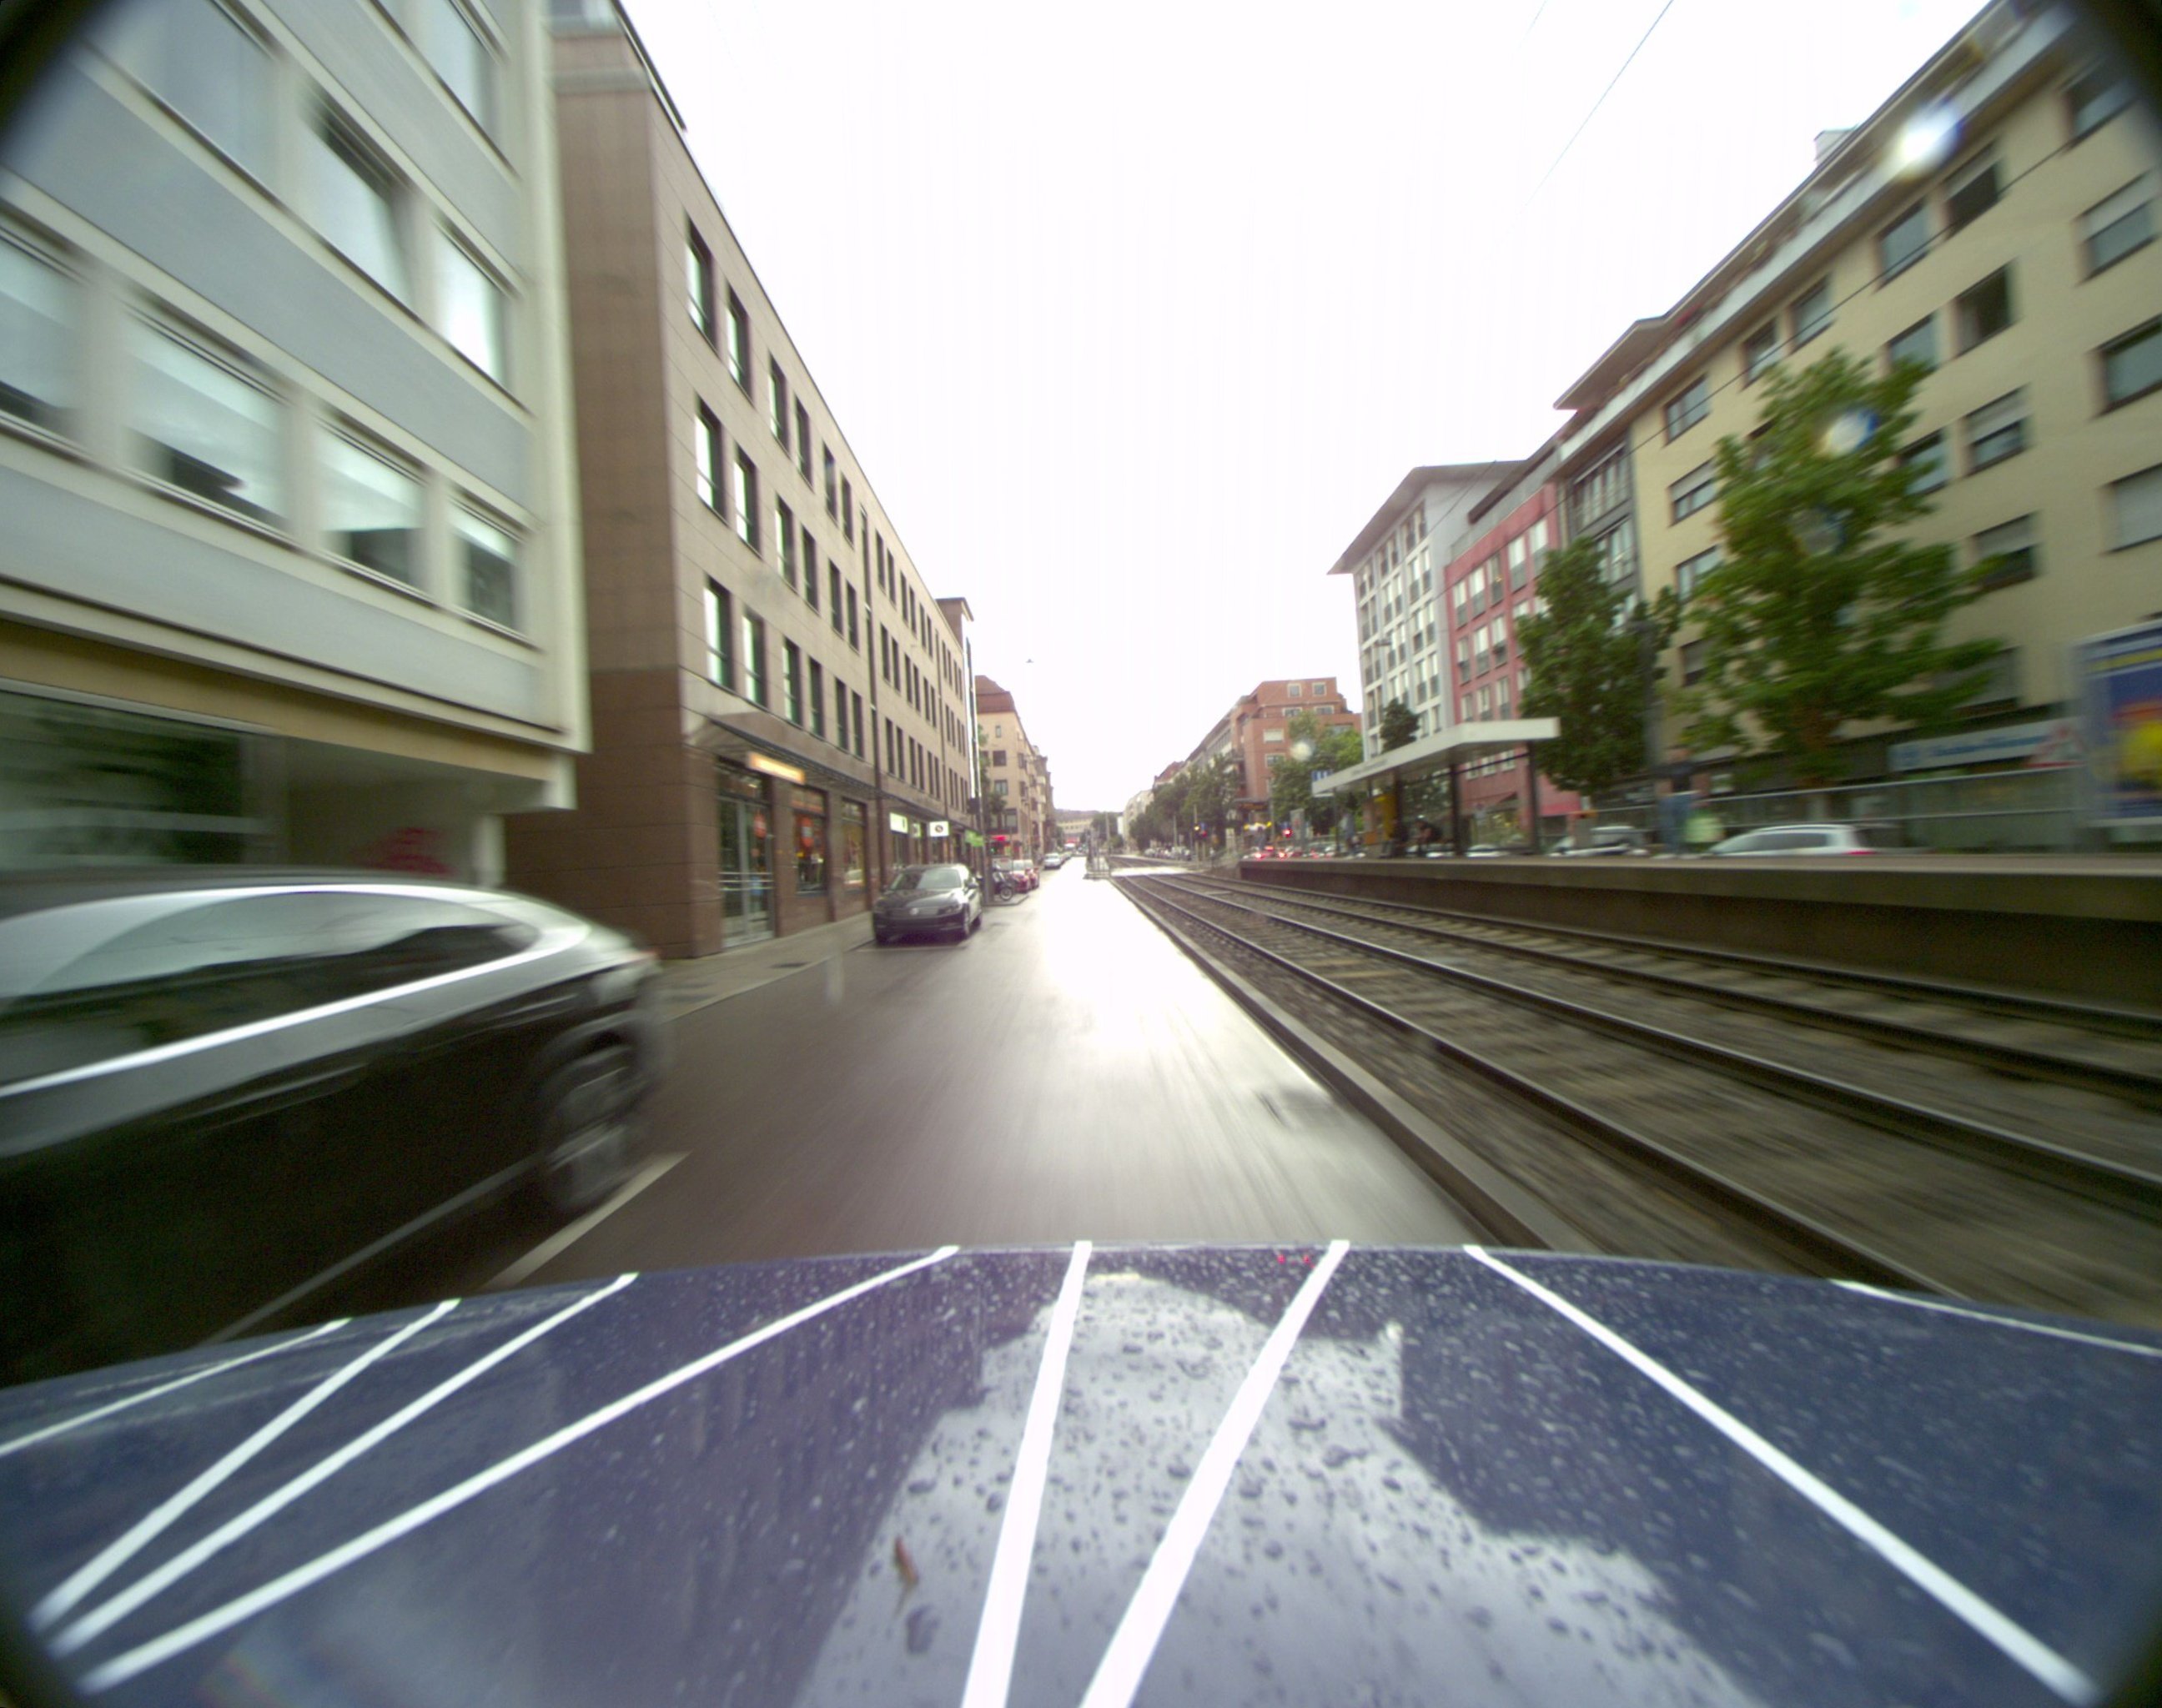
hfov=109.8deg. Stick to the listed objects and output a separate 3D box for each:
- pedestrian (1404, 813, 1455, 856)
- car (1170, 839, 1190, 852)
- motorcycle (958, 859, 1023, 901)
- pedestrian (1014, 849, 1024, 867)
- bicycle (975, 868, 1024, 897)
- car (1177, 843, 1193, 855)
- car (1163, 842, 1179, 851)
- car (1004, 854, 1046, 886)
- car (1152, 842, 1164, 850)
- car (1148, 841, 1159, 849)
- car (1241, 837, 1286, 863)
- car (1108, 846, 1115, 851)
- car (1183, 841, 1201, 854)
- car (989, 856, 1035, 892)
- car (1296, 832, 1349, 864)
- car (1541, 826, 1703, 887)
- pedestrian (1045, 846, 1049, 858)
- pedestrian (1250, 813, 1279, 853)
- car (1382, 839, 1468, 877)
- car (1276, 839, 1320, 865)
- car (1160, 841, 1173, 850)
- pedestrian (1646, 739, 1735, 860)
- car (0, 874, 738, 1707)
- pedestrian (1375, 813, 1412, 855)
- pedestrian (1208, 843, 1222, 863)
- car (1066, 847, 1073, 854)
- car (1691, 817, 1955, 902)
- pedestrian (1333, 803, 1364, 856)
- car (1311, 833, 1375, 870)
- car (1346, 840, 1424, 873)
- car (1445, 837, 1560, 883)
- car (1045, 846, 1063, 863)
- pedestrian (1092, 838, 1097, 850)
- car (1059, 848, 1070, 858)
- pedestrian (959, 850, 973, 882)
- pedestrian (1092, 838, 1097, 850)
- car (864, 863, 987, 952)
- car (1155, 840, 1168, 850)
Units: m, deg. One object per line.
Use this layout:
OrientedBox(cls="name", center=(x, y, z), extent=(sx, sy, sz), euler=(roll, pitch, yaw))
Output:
OrientedBox(cls="pedestrian", center=(9.513, -0.527, 20.768), extent=(0.895, 1.117, 0.849), euler=(-3, 1, -10))
OrientedBox(cls="car", center=(14.601, -1.272, 112.204), extent=(1.912, 1.834, 5.255), euler=(-3, 1, -4))
OrientedBox(cls="motorcycle", center=(-3.190, 0.912, 26.816), extent=(2.086, 1.399, 0.800), euler=(-2, 2, 19))
OrientedBox(cls="pedestrian", center=(-6.275, 0.429, 76.679), extent=(0.665, 1.809, 0.597), euler=(-1, 2, 41))
OrientedBox(cls="bicycle", center=(-3.178, 1.123, 29.709), extent=(1.791, 1.025, 0.462), euler=(-2, 2, -1))
OrientedBox(cls="car", center=(14.532, -0.713, 106.082), extent=(1.643, 1.527, 4.370), euler=(-3, 1, 1))
OrientedBox(cls="car", center=(14.337, -1.216, 121.162), extent=(1.696, 1.454, 4.528), euler=(-3, 1, -3))
OrientedBox(cls="car", center=(-2.835, 0.791, 39.156), extent=(1.703, 1.471, 3.866), euler=(-1, 1, 2))
OrientedBox(cls="car", center=(14.179, -1.498, 140.498), extent=(1.643, 1.432, 4.728), euler=(-3, 1, -1))
OrientedBox(cls="car", center=(14.421, -1.828, 152.085), extent=(1.662, 1.575, 4.337), euler=(-3, 1, -1))
OrientedBox(cls="car", center=(12.140, -0.294, 50.805), extent=(1.811, 1.569, 5.020), euler=(-3, 1, 1))
OrientedBox(cls="car", center=(9.379, -1.690, 234.618), extent=(1.696, 1.454, 4.528), euler=(-3, 1, -3))
OrientedBox(cls="car", center=(14.517, -0.900, 99.714), extent=(1.643, 1.614, 4.370), euler=(-3, 1, 1))
OrientedBox(cls="car", center=(-3.040, 0.851, 34.105), extent=(1.703, 1.454, 3.866), euler=(-1, 1, 0))
OrientedBox(cls="car", center=(14.834, -0.383, 46.960), extent=(1.712, 1.847, 4.319), euler=(-3, 1, -2))
OrientedBox(cls="car", center=(14.502, 0.038, 20.631), extent=(1.572, 1.428, 3.734), euler=(-3, 1, -3))
OrientedBox(cls="pedestrian", center=(-4.784, -0.281, 106.578), extent=(0.546, 1.671, 0.595), euler=(-3, 2, -7))
OrientedBox(cls="pedestrian", center=(9.643, -1.112, 40.024), extent=(1.119, 2.002, 1.383), euler=(-2, 2, 0))
OrientedBox(cls="car", center=(14.182, 0.131, 31.547), extent=(1.572, 1.428, 3.977), euler=(-3, 1, -3))
OrientedBox(cls="car", center=(14.869, -0.155, 52.277), extent=(1.730, 1.602, 4.553), euler=(-3, 0, 1))
OrientedBox(cls="car", center=(14.469, -1.437, 129.243), extent=(1.643, 1.530, 3.802), euler=(-3, 1, -1))
OrientedBox(cls="pedestrian", center=(9.478, -0.826, 11.845), extent=(0.657, 1.791, 0.850), euler=(-3, 1, -2))
OrientedBox(cls="car", center=(-3.082, 1.004, 2.143), extent=(1.812, 1.622, 5.168), euler=(-3, 1, 0))
OrientedBox(cls="pedestrian", center=(9.570, -0.605, 23.302), extent=(0.694, 1.242, 0.884), euler=(-3, 1, -2))
OrientedBox(cls="pedestrian", center=(11.813, -0.122, 66.974), extent=(0.821, 1.687, 0.985), euler=(-5, 1, -8))
OrientedBox(cls="car", center=(-2.615, -0.762, 171.915), extent=(1.588, 1.343, 3.976), euler=(-3, 1, -1))
OrientedBox(cls="car", center=(14.691, 0.083, 15.370), extent=(1.572, 1.428, 3.734), euler=(-3, 1, -3))
OrientedBox(cls="pedestrian", center=(8.929, -0.805, 25.414), extent=(0.657, 1.702, 0.850), euler=(-3, 1, -2))
OrientedBox(cls="car", center=(14.335, -0.144, 41.819), extent=(1.807, 1.847, 4.379), euler=(-3, 1, -2))
OrientedBox(cls="car", center=(14.692, 0.100, 36.932), extent=(1.846, 1.428, 4.318), euler=(-3, 1, -3))
OrientedBox(cls="car", center=(14.736, 0.191, 26.842), extent=(1.678, 1.428, 3.977), euler=(-3, 1, -3))
OrientedBox(cls="car", center=(-3.087, 0.040, 87.845), extent=(1.911, 1.796, 4.775), euler=(-3, 1, -2))
OrientedBox(cls="pedestrian", center=(1.848, -1.338, 103.467), extent=(0.585, 1.600, 0.701), euler=(-2, 2, -2))
OrientedBox(cls="car", center=(-2.747, -0.214, 127.417), extent=(1.720, 1.454, 3.444), euler=(-3, 1, 1))
OrientedBox(cls="pedestrian", center=(-6.164, 0.629, 40.711), extent=(0.603, 1.650, 0.625), euler=(-2, 2, 0))
OrientedBox(cls="pedestrian", center=(1.796, -1.322, 102.758), extent=(0.585, 1.549, 0.701), euler=(-2, 2, -2))
OrientedBox(cls="car", center=(-3.138, 0.999, 16.240), extent=(1.779, 1.460, 4.608), euler=(-3, 1, -2))
OrientedBox(cls="car", center=(14.281, -1.623, 134.936), extent=(1.678, 1.807, 4.431), euler=(-3, 1, -1))
